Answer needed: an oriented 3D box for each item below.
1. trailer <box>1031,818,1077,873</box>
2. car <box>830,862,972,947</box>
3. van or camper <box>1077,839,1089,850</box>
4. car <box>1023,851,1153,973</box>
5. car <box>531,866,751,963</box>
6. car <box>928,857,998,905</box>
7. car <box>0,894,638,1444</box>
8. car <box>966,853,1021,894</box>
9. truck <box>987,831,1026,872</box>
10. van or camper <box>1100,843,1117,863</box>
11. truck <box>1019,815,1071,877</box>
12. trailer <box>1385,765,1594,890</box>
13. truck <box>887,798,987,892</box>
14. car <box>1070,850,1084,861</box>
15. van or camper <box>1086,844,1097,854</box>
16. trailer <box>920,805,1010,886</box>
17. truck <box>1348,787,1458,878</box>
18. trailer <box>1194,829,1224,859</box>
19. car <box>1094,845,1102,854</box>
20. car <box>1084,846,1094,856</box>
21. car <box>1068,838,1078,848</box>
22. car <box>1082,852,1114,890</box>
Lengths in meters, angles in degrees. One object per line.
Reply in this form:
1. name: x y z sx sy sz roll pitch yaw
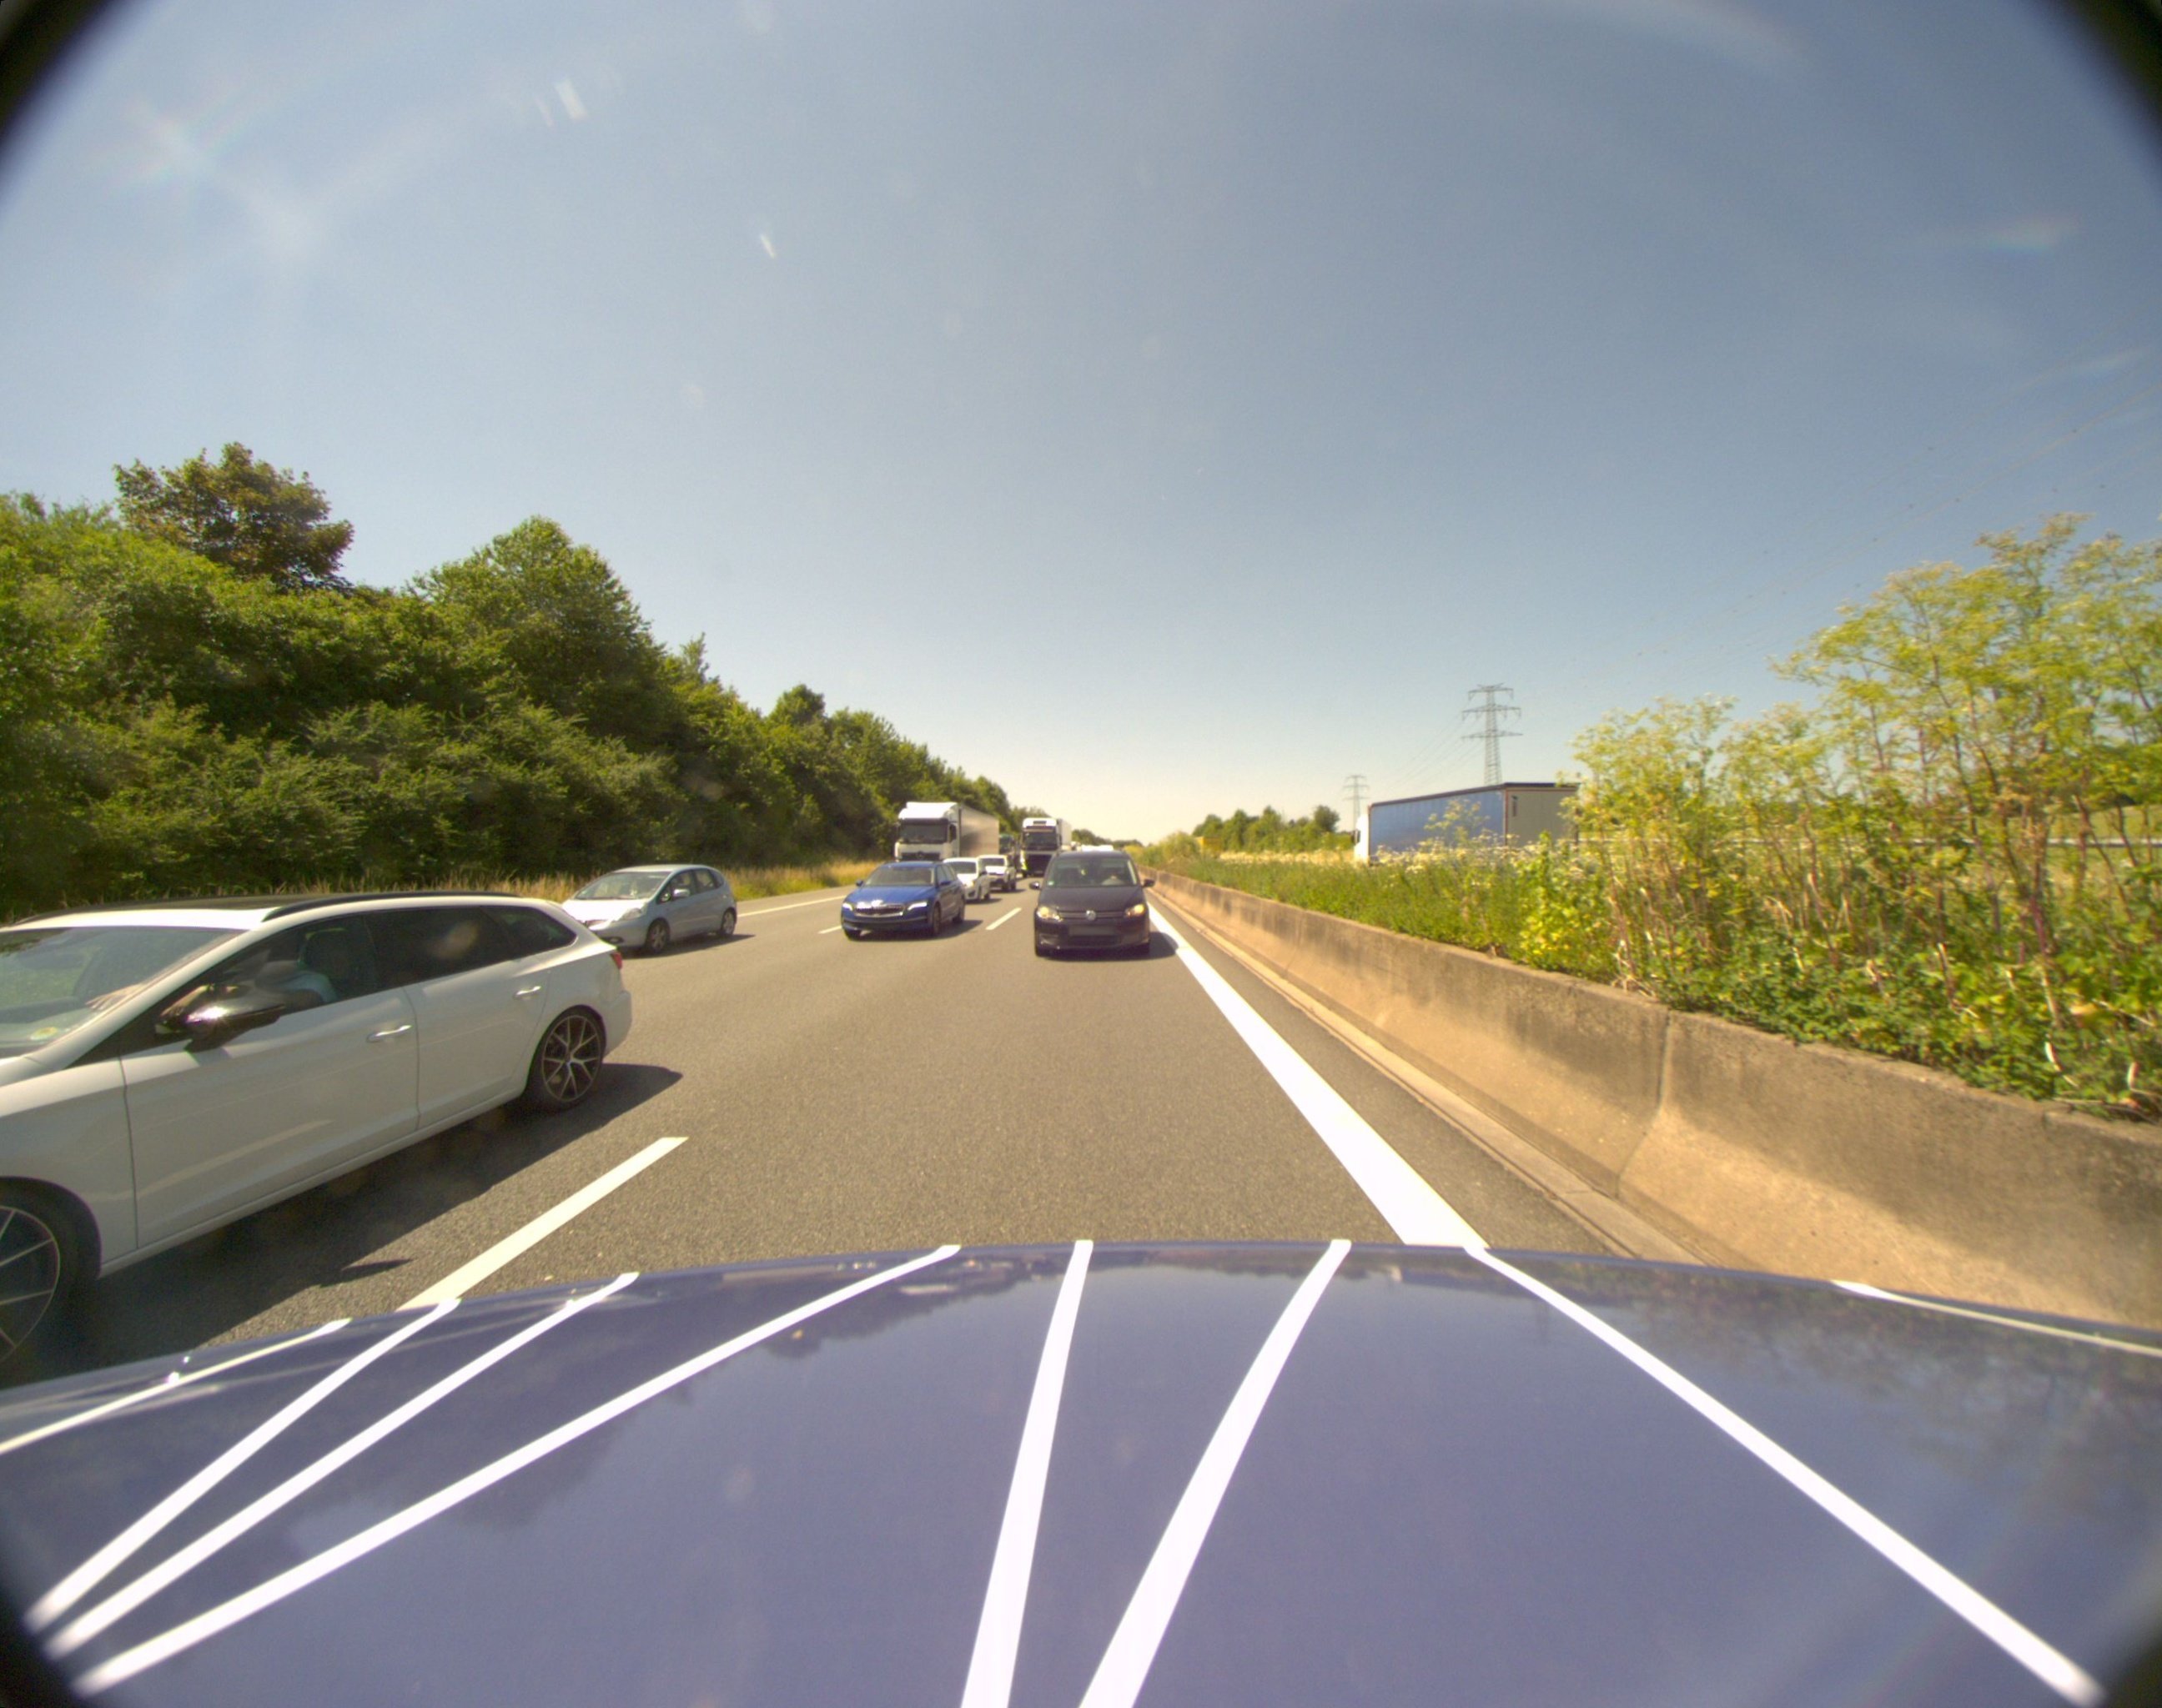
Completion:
1. trailer: -2.029 -0.668 60.449 2.776 3.951 9.156 -1 1 3
2. car: -3.590 0.948 16.070 1.780 1.408 4.572 0 1 2
3. van or camper: 0.464 -2.344 191.541 2.745 2.679 5.363 -1 1 2
4. car: 0.183 0.792 13.082 1.758 1.571 5.291 -1 1 2
5. car: -7.800 0.988 13.959 1.666 1.453 3.922 0 1 2
6. car: -3.916 0.864 25.810 1.609 1.426 3.810 0 1 3
7. car: -4.104 1.053 3.246 1.752 1.435 4.313 -1 1 2
8. car: -3.645 0.792 32.117 1.748 1.549 3.884 0 1 2
9. truck: -6.039 -0.263 62.036 2.299 3.128 5.675 -1 1 3
10. van or camper: 3.560 -0.138 98.150 1.956 2.368 4.037 -3 1 3
11. truck: -2.379 -0.572 53.355 2.750 3.972 8.361 -1 1 3
12. trailer: 16.091 -0.967 31.359 3.019 4.203 10.981 -1 1 2
13. truck: -6.937 -0.441 38.068 2.879 4.133 8.475 -1 1 3
14. car: -0.519 0.147 101.238 1.650 1.336 3.381 -1 1 3
15. van or camper: 2.177 -1.008 158.623 2.189 2.018 4.364 -1 1 3
16. trailer: -6.596 -0.518 45.526 2.879 4.133 12.076 -1 1 3
17. truck: 16.379 -1.067 39.218 3.019 4.203 6.686 -1 1 2
18. trailer: 19.406 -1.541 115.920 2.828 4.182 10.684 -3 1 2
19. car: 4.460 -1.283 198.717 1.998 2.302 4.229 -1 1 2
20. car: 1.470 -0.574 142.449 1.652 1.636 4.000 -1 1 3
21. car: -1.629 -2.238 155.255 1.998 2.002 4.000 -1 1 2
22. car: 0.850 0.798 36.531 1.357 1.630 2.994 -3 1 3
